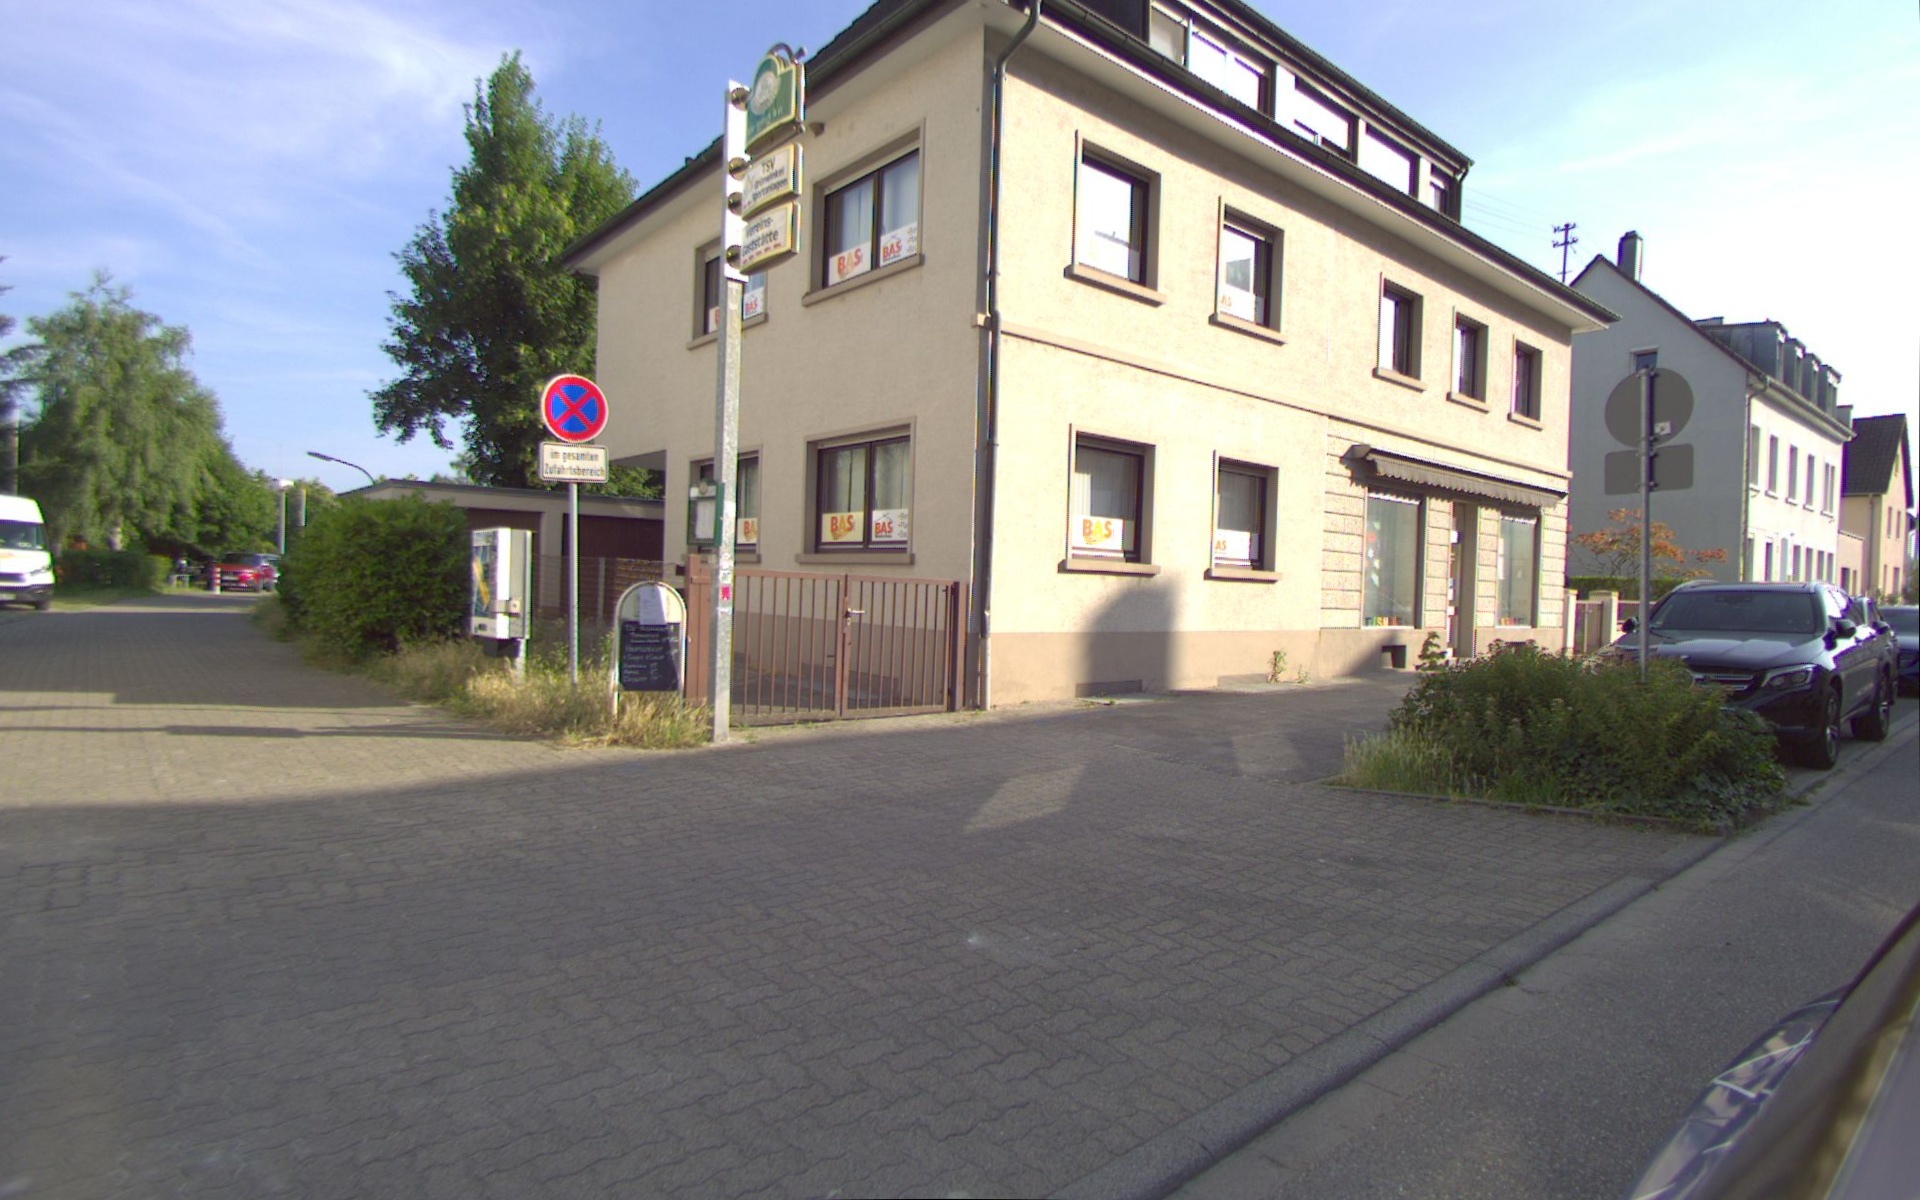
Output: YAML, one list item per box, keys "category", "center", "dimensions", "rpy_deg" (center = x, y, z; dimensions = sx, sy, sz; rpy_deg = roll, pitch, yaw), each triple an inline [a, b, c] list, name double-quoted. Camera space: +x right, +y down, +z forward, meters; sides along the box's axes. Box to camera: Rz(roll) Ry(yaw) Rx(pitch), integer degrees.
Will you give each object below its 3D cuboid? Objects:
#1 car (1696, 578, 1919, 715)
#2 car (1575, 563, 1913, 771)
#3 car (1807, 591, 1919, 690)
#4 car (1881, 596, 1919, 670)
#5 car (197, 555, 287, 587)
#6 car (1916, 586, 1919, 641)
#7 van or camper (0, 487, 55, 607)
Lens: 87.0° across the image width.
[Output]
- category: "car"
  center: [11.965, 0.546, 14.150]
  dimensions: [4.243, 1.579, 1.833]
  rpy_deg: [0, 2, -42]
- category: "car"
  center: [8.061, 0.520, 10.252]
  dimensions: [4.384, 1.650, 1.834]
  rpy_deg: [0, 2, -41]
- category: "car"
  center: [16.007, 0.631, 17.108]
  dimensions: [4.528, 1.437, 1.834]
  rpy_deg: [0, 2, -41]
- category: "car"
  center: [20.650, 0.676, 21.021]
  dimensions: [4.418, 1.438, 1.782]
  rpy_deg: [1, 1, -42]
- category: "car"
  center: [-29.900, -1.202, 42.261]
  dimensions: [1.576, 1.242, 3.744]
  rpy_deg: [1, 2, -9]
- category: "car"
  center: [31.159, 0.376, 30.959]
  dimensions: [4.526, 1.879, 2.082]
  rpy_deg: [1, 2, -39]
- category: "van or camper"
  center: [-22.229, -1.235, 23.004]
  dimensions: [4.171, 2.561, 1.969]
  rpy_deg: [3, -1, 43]
